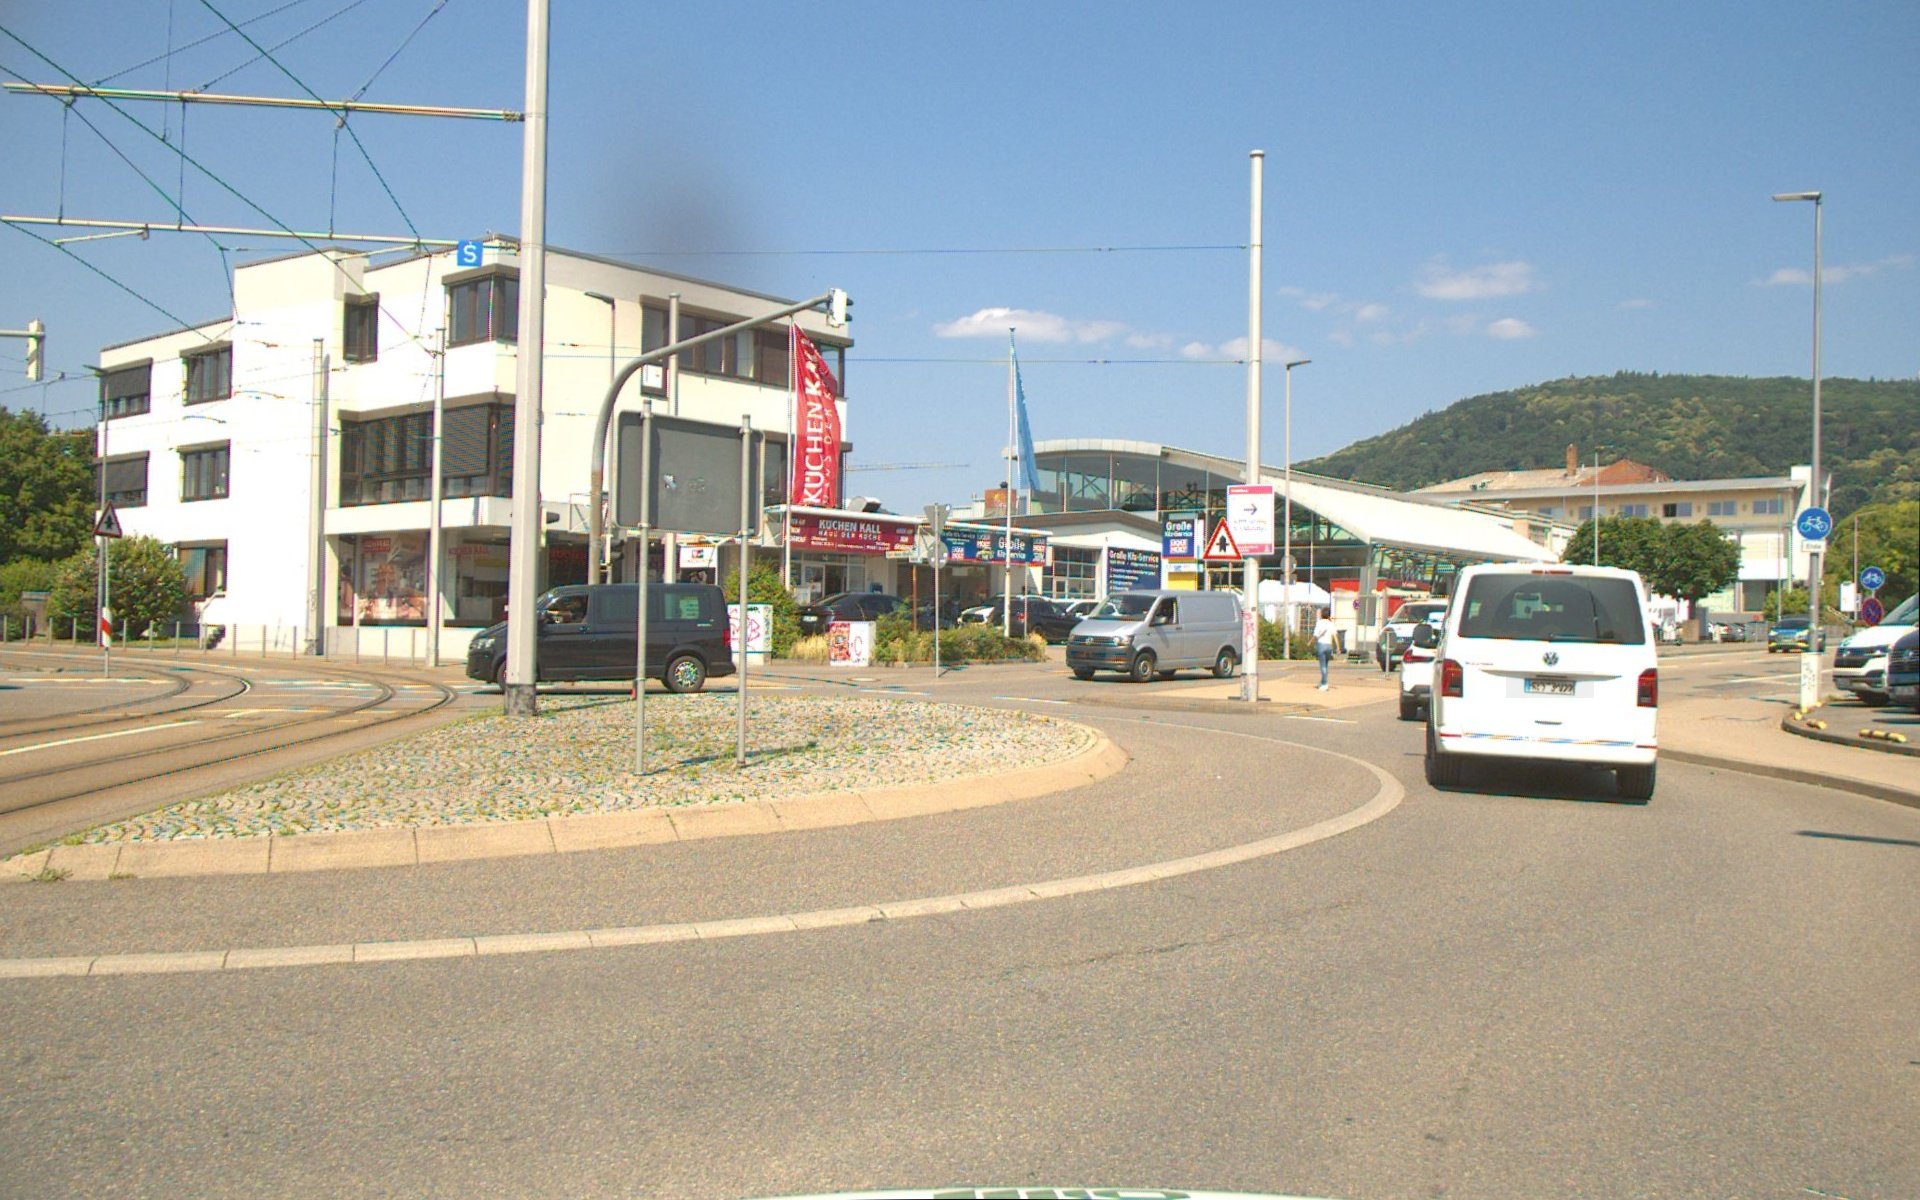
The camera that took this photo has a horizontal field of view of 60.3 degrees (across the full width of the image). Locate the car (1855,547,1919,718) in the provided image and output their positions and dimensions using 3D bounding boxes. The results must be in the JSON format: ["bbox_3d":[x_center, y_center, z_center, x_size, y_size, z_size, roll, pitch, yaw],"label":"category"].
[{"bbox_3d":[14.641,0.417,21.305,5.102,2.150,2.097,0,-1,1],"label":"car"}]

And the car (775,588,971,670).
[{"bbox_3d":[-2.159,0.730,42.567,1.931,2.000,5.249,0,-1,42],"label":"car"}]

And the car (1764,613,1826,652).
[{"bbox_3d":[39.295,1.487,77.766,1.877,1.791,4.432,0,-1,37],"label":"car"}]

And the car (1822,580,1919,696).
[{"bbox_3d":[18.649,0.670,29.945,5.023,2.049,1.932,-1,-1,9],"label":"car"}]

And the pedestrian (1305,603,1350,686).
[{"bbox_3d":[7.530,0.907,33.934,0.744,1.685,0.672,1,-1,-3],"label":"pedestrian"}]

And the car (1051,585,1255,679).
[{"bbox_3d":[4.365,0.701,36.844,4.790,1.969,1.903,1,-1,-44],"label":"car"}]

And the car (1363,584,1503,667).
[{"bbox_3d":[13.139,0.675,45.720,1.989,2.151,4.911,1,0,38],"label":"car"}]

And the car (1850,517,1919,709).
[{"bbox_3d":[16.875,0.196,24.602,6.008,2.764,2.308,0,-1,3],"label":"car"}]

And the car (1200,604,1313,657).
[{"bbox_3d":[9.572,0.949,53.162,1.961,1.646,3.982,0,0,38],"label":"car"}]

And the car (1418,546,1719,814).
[{"bbox_3d":[5.637,0.636,15.997,2.117,2.048,5.022,3,1,14],"label":"car"}]

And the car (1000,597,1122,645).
[{"bbox_3d":[3.608,0.756,58.193,1.850,1.616,4.906,-2,-2,37],"label":"car"}]

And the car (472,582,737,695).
[{"bbox_3d":[-6.521,0.674,30.228,4.552,1.943,2.088,1,0,-18],"label":"car"}]

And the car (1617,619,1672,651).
[{"bbox_3d":[35.773,1.817,86.521,1.708,1.613,3.663,1,-1,6],"label":"car"}]

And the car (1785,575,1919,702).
[{"bbox_3d":[16.701,0.629,27.406,5.034,2.035,2.026,0,-1,5],"label":"car"}]

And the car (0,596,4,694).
[{"bbox_3d":[-17.679,0.690,26.142,4.200,1.583,1.942,2,-2,-39],"label":"car"}]

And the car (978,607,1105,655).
[{"bbox_3d":[2.674,0.987,53.320,1.993,1.452,4.298,1,-1,37],"label":"car"}]

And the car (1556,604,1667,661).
[{"bbox_3d":[22.452,1.099,56.912,1.992,1.870,4.839,0,-1,42],"label":"car"}]

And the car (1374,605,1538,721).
[{"bbox_3d":[8.194,0.985,27.737,1.951,1.763,4.567,1,0,8],"label":"car"}]
